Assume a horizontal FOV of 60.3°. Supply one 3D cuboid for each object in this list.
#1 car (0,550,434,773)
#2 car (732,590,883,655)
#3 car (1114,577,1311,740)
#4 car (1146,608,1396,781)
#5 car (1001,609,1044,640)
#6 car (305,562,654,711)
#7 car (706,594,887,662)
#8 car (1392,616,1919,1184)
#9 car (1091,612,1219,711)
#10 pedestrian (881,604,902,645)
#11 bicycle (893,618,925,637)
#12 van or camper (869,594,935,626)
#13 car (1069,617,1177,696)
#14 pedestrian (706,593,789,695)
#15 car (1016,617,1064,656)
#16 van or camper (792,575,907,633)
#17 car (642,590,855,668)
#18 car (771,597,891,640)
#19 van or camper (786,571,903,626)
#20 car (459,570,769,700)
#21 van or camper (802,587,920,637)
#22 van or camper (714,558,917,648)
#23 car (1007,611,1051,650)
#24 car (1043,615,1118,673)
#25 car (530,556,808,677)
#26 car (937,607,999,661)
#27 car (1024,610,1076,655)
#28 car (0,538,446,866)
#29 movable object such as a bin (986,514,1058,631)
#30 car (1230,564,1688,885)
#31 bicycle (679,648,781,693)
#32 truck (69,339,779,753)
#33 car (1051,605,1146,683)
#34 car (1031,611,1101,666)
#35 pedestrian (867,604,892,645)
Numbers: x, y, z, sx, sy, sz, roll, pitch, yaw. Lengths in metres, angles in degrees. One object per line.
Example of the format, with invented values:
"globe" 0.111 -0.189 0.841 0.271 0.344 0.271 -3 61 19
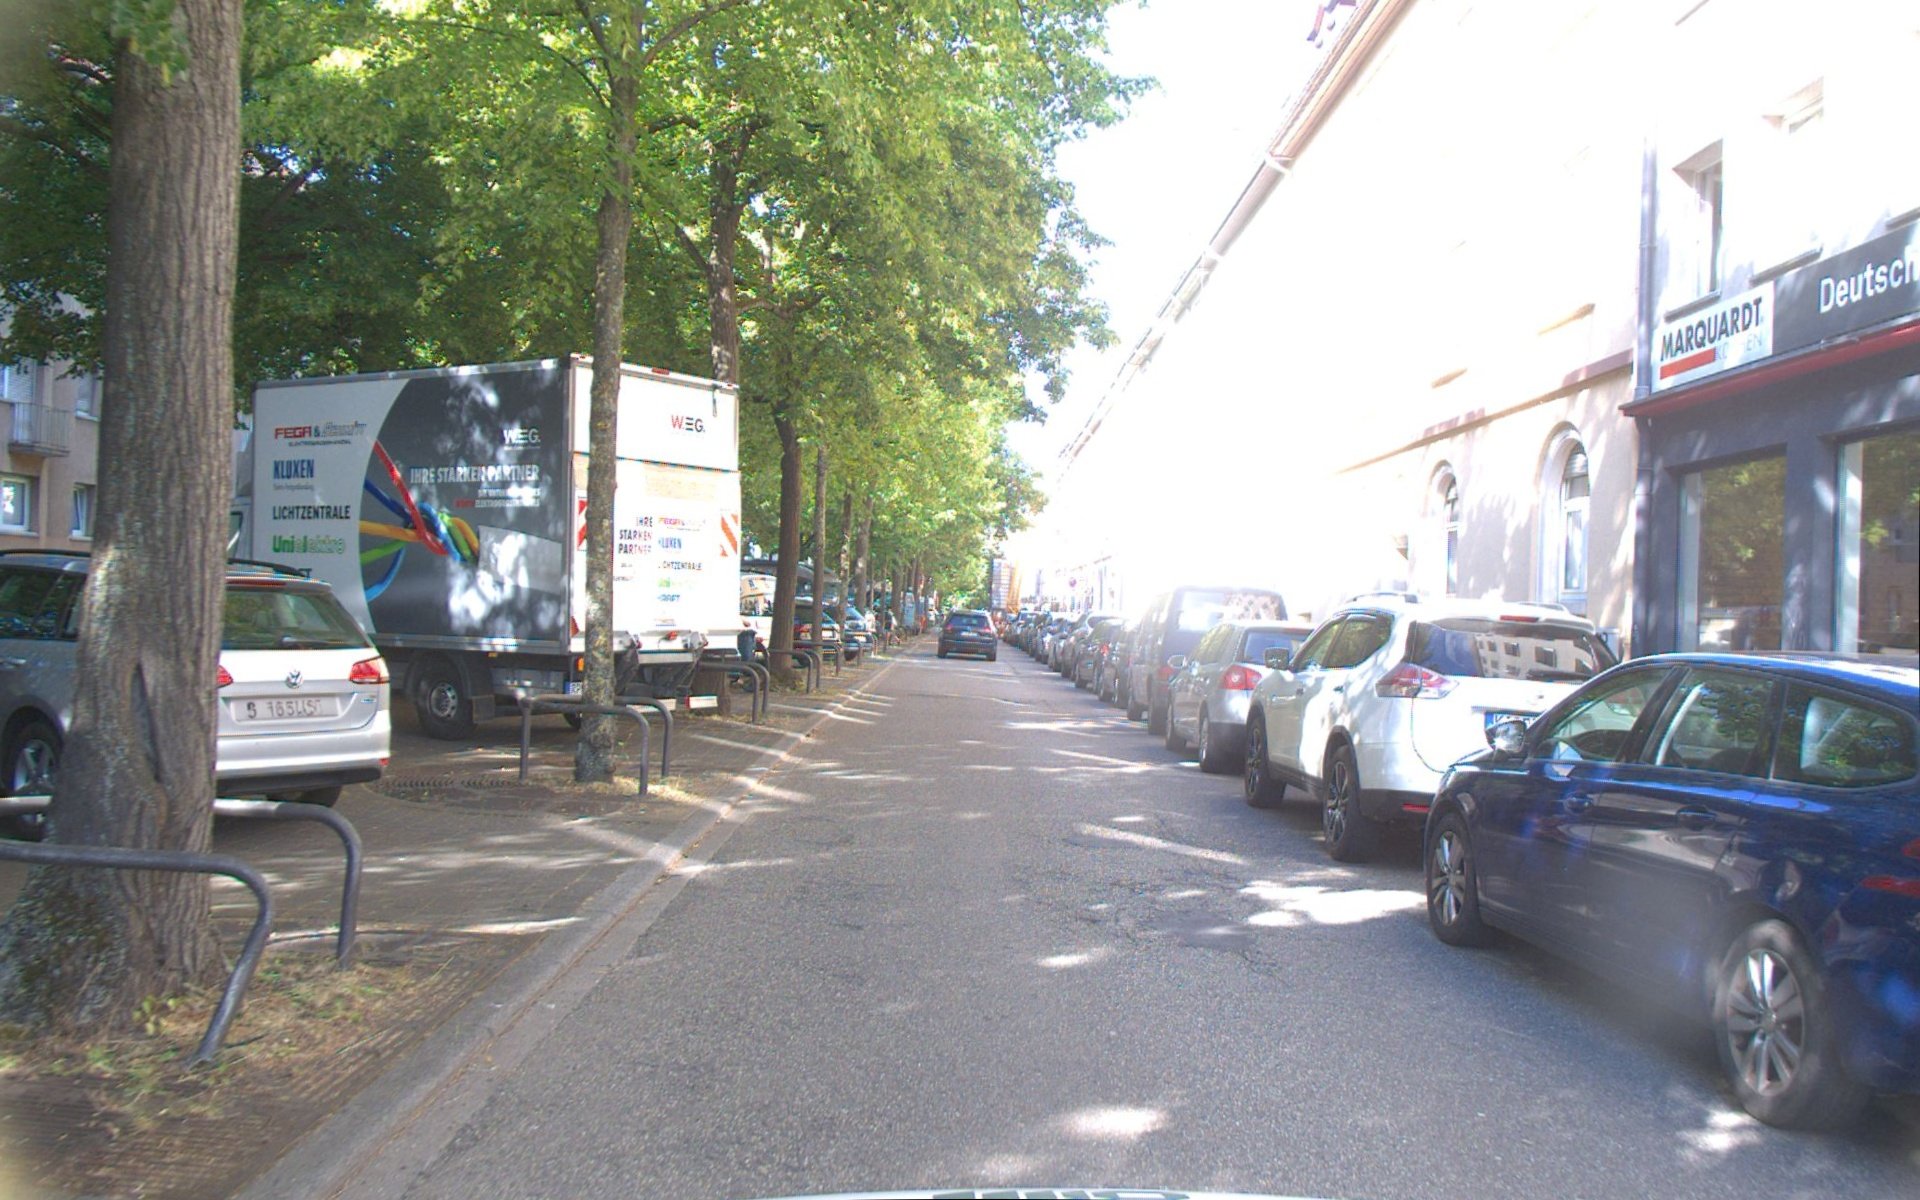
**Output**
"car" -6.496 0.419 13.670 4.254 1.533 1.808 2 0 34
"car" -4.435 0.638 48.023 4.055 1.708 1.756 2 0 29
"car" 3.322 0.729 22.711 1.909 1.934 4.845 2 0 0
"car" 3.108 0.882 17.370 1.726 1.526 4.237 2 0 -1
"car" 3.238 1.256 86.498 1.953 1.434 4.499 3 0 -1
"car" -5.813 0.407 19.924 3.915 1.529 1.844 2 -1 31
"car" -4.131 0.691 41.531 4.330 1.487 1.711 2 -1 32
"car" 3.317 0.855 6.439 1.767 1.489 4.436 2 0 -5
"car" 3.276 1.007 28.410 1.589 1.524 3.593 2 0 -2
"pedestrian" -2.572 0.921 62.073 0.602 1.481 0.519 2 -1 23
"bicycle" -2.994 1.609 96.979 1.858 1.024 0.430 2 -1 24
"van or camper" -4.978 0.831 141.185 5.237 2.518 2.288 2 0 32
"car" 3.235 1.090 33.442 1.518 1.418 3.858 2 0 -4
"pedestrian" -3.067 0.624 23.929 0.737 1.421 0.926 2 -1 31
"car" 3.197 1.461 66.811 1.598 1.437 4.087 2 0 -2
"van or camper" -6.663 0.210 99.694 6.530 3.297 2.491 2 0 29
"car" -4.604 0.618 35.788 4.394 1.481 1.783 2 -1 32
"car" -4.905 0.714 62.724 4.232 1.449 1.673 2 0 27
"van or camper" -6.076 -0.075 86.594 5.758 2.683 2.251 2 0 29
"car" -4.758 0.448 22.630 4.021 1.532 1.729 2 -1 32
"van or camper" -4.939 0.586 82.345 5.388 2.315 2.219 2 0 24
"van or camper" -5.253 0.084 59.675 7.086 2.981 2.311 2 0 27
"car" 3.199 1.414 77.382 1.779 1.703 4.673 2 0 0
"car" 3.288 1.188 45.746 1.687 1.457 4.157 2 0 0
"car" -5.185 0.281 29.462 4.420 1.897 2.079 3 -1 25
"car" 0.218 0.999 50.433 1.760 1.530 3.585 2 0 -1
"car" 3.341 1.206 62.120 1.598 1.561 3.591 2 0 -2
"car" -5.181 0.445 9.754 4.254 1.533 1.808 2 0 34
"movable object such as a bin" 3.781 -1.674 100.502 3.416 6.877 2.362 2 -1 32
"car" 3.244 0.729 11.772 1.726 1.784 4.508 2 0 -2
"bicycle" -3.393 1.034 24.358 1.579 0.568 0.408 2 0 31
"truck" -5.454 -0.500 16.322 7.168 3.351 2.541 2 0 31
"car" 3.262 1.010 39.700 1.688 1.715 4.156 2 0 -3
"car" 3.253 1.161 51.426 1.688 1.555 4.156 2 0 -2
"pedestrian" -2.991 0.918 61.490 0.695 1.481 0.596 2 -1 23
